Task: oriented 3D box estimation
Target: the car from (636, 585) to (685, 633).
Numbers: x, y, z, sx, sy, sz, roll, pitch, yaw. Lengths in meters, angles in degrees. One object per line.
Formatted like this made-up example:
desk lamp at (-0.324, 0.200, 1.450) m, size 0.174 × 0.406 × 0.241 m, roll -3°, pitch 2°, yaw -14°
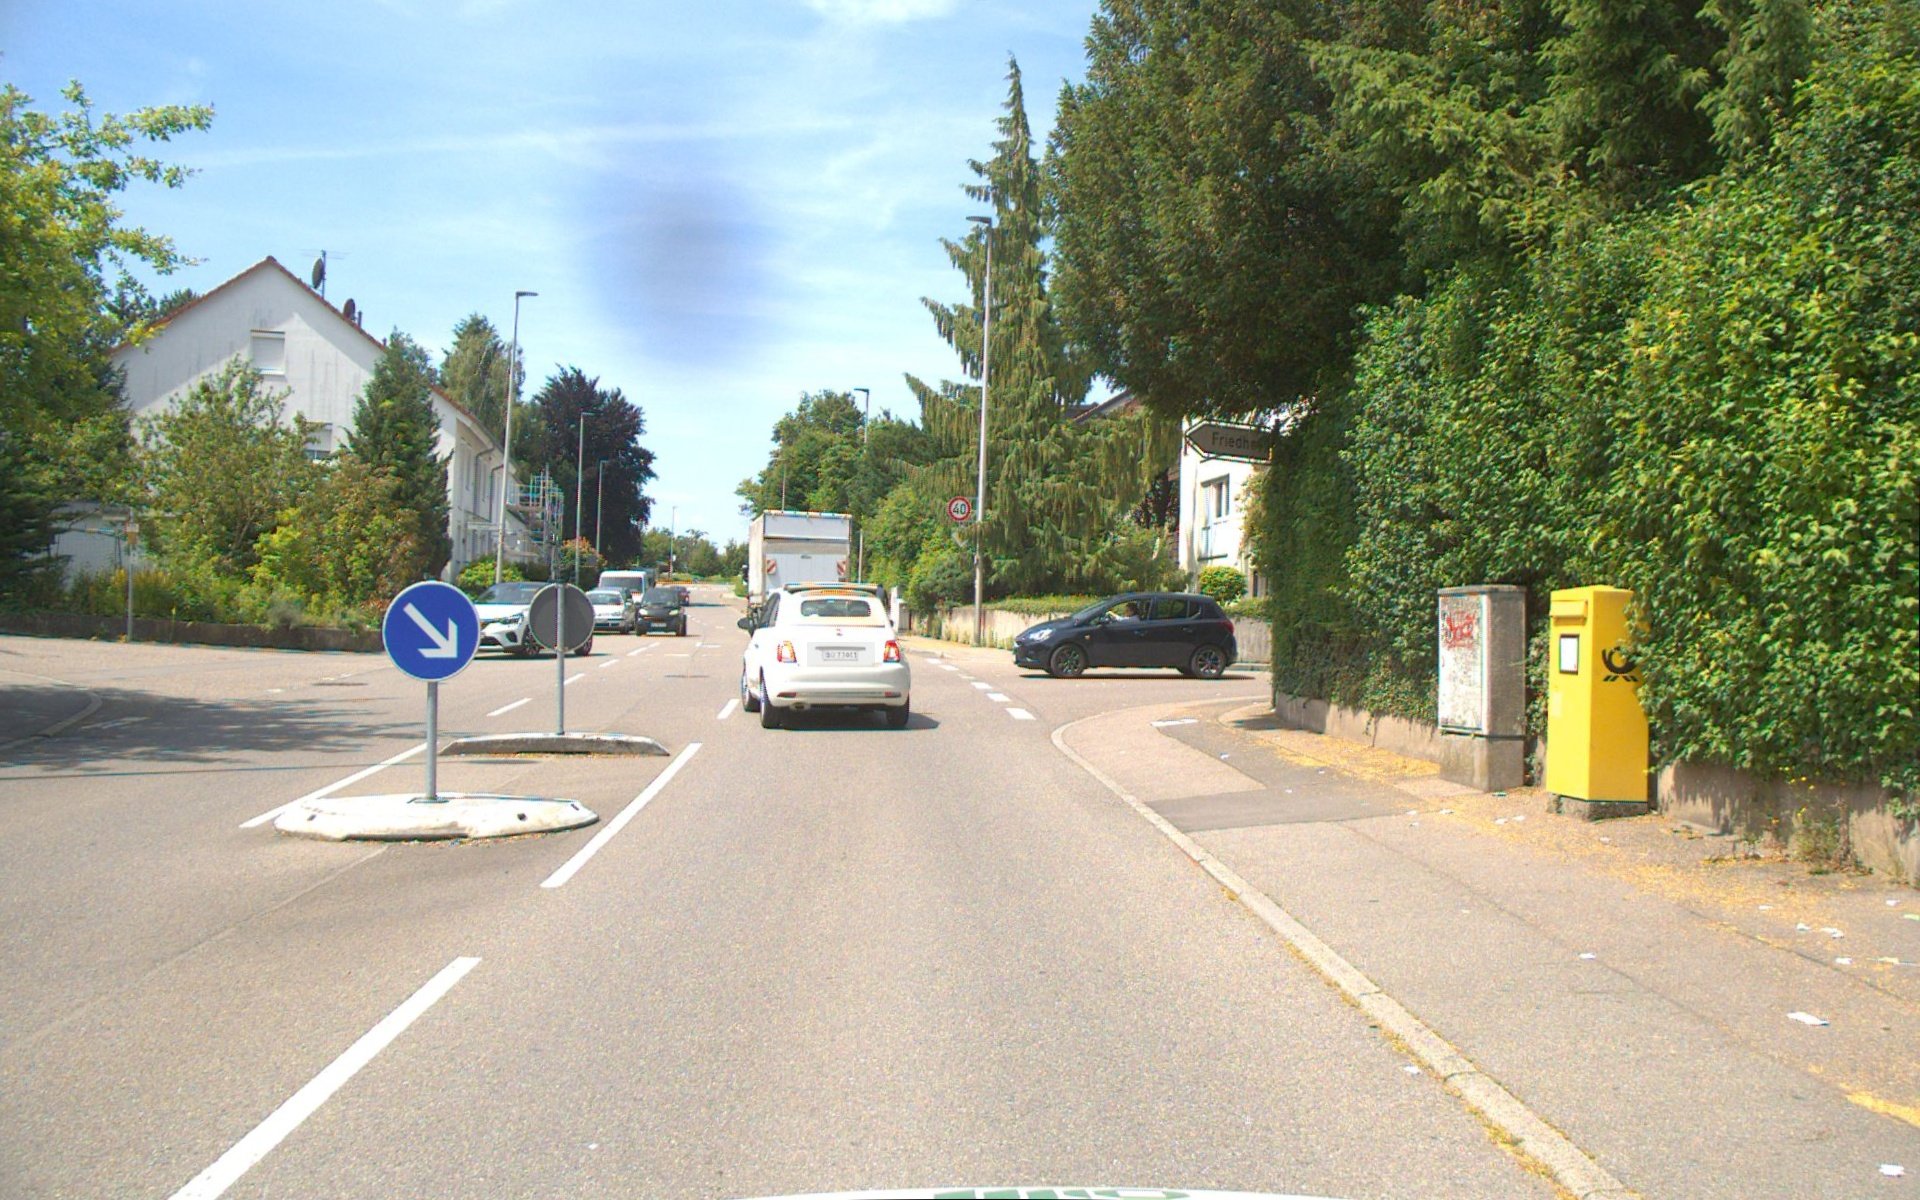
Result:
car at (-9.856, 0.293, 54.576) m, size 1.452 × 1.536 × 2.795 m, roll 0°, pitch 0°, yaw -8°

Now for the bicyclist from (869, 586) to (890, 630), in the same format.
bicyclist at (-2.633, 0.258, 54.133) m, size 0.577 × 1.437 × 0.740 m, roll 2°, pitch 0°, yaw -9°

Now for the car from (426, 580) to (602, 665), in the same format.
car at (-9.244, 0.495, 34.669) m, size 1.745 × 1.556 × 4.174 m, roll 4°, pitch -1°, yaw 12°

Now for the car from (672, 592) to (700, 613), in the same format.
car at (-21.999, 0.196, 132.836) m, size 1.797 × 1.561 × 3.997 m, roll 2°, pitch 0°, yaw -4°

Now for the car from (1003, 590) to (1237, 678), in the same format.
car at (2.769, 0.582, 29.110) m, size 3.856 × 1.483 × 1.657 m, roll 1°, pitch 0°, yaw -5°

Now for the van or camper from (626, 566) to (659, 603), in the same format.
van or camper at (-27.235, -1.364, 141.986) m, size 2.222 × 3.014 × 5.880 m, roll 2°, pitch 0°, yaw -7°

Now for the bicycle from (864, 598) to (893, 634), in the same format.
bicycle at (-2.701, 0.522, 54.526) m, size 0.655 × 1.123 × 2.420 m, roll 2°, pitch 0°, yaw -9°

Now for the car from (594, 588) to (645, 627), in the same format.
car at (-12.774, 0.268, 62.252) m, size 1.772 × 1.422 × 3.958 m, roll 1°, pitch 0°, yaw -10°

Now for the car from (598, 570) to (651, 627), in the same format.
car at (-13.815, -0.069, 68.290) m, size 2.000 × 2.238 × 5.568 m, roll 1°, pitch 0°, yaw -10°

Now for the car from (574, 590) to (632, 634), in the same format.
car at (-12.085, 0.398, 56.163) m, size 1.772 × 1.422 × 3.990 m, roll 1°, pitch 0°, yaw -10°

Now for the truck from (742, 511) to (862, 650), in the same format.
truck at (-4.918, -0.533, 50.116) m, size 3.012 × 3.840 × 7.849 m, roll 1°, pitch 0°, yaw -10°

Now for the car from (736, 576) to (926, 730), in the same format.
car at (-1.590, 0.529, 19.114) m, size 1.694 × 1.587 × 3.988 m, roll 0°, pitch 0°, yaw -12°
